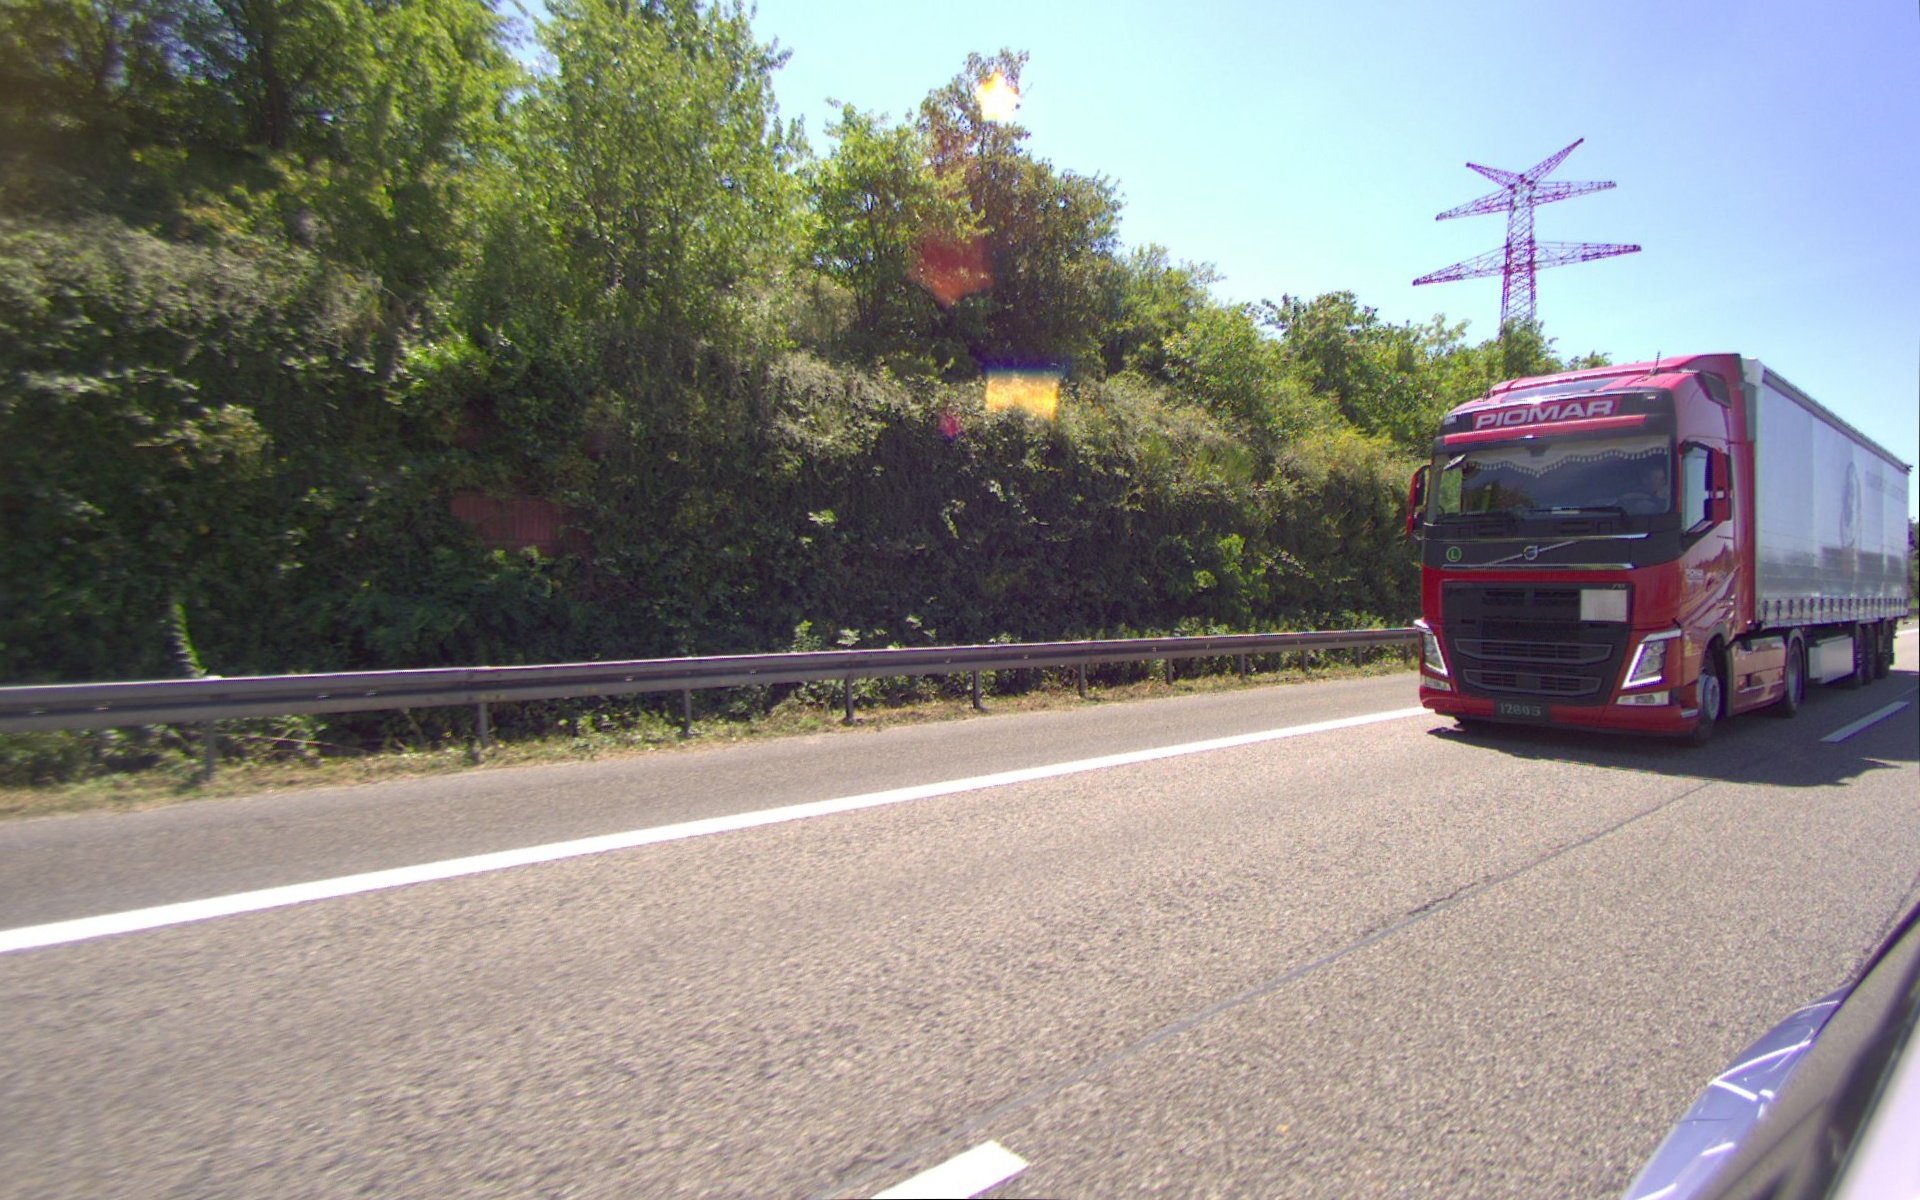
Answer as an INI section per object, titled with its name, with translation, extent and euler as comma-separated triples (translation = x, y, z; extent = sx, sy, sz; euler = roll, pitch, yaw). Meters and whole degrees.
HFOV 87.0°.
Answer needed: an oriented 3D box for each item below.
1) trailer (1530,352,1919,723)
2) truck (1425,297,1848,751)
[trailer]
translation = 13.217, -0.730, 16.377
extent = 13.998, 3.958, 2.494
euler = 0, 1, -41
[truck]
translation = 8.375, -0.700, 12.101
extent = 6.973, 3.969, 2.503
euler = 0, 1, -41
